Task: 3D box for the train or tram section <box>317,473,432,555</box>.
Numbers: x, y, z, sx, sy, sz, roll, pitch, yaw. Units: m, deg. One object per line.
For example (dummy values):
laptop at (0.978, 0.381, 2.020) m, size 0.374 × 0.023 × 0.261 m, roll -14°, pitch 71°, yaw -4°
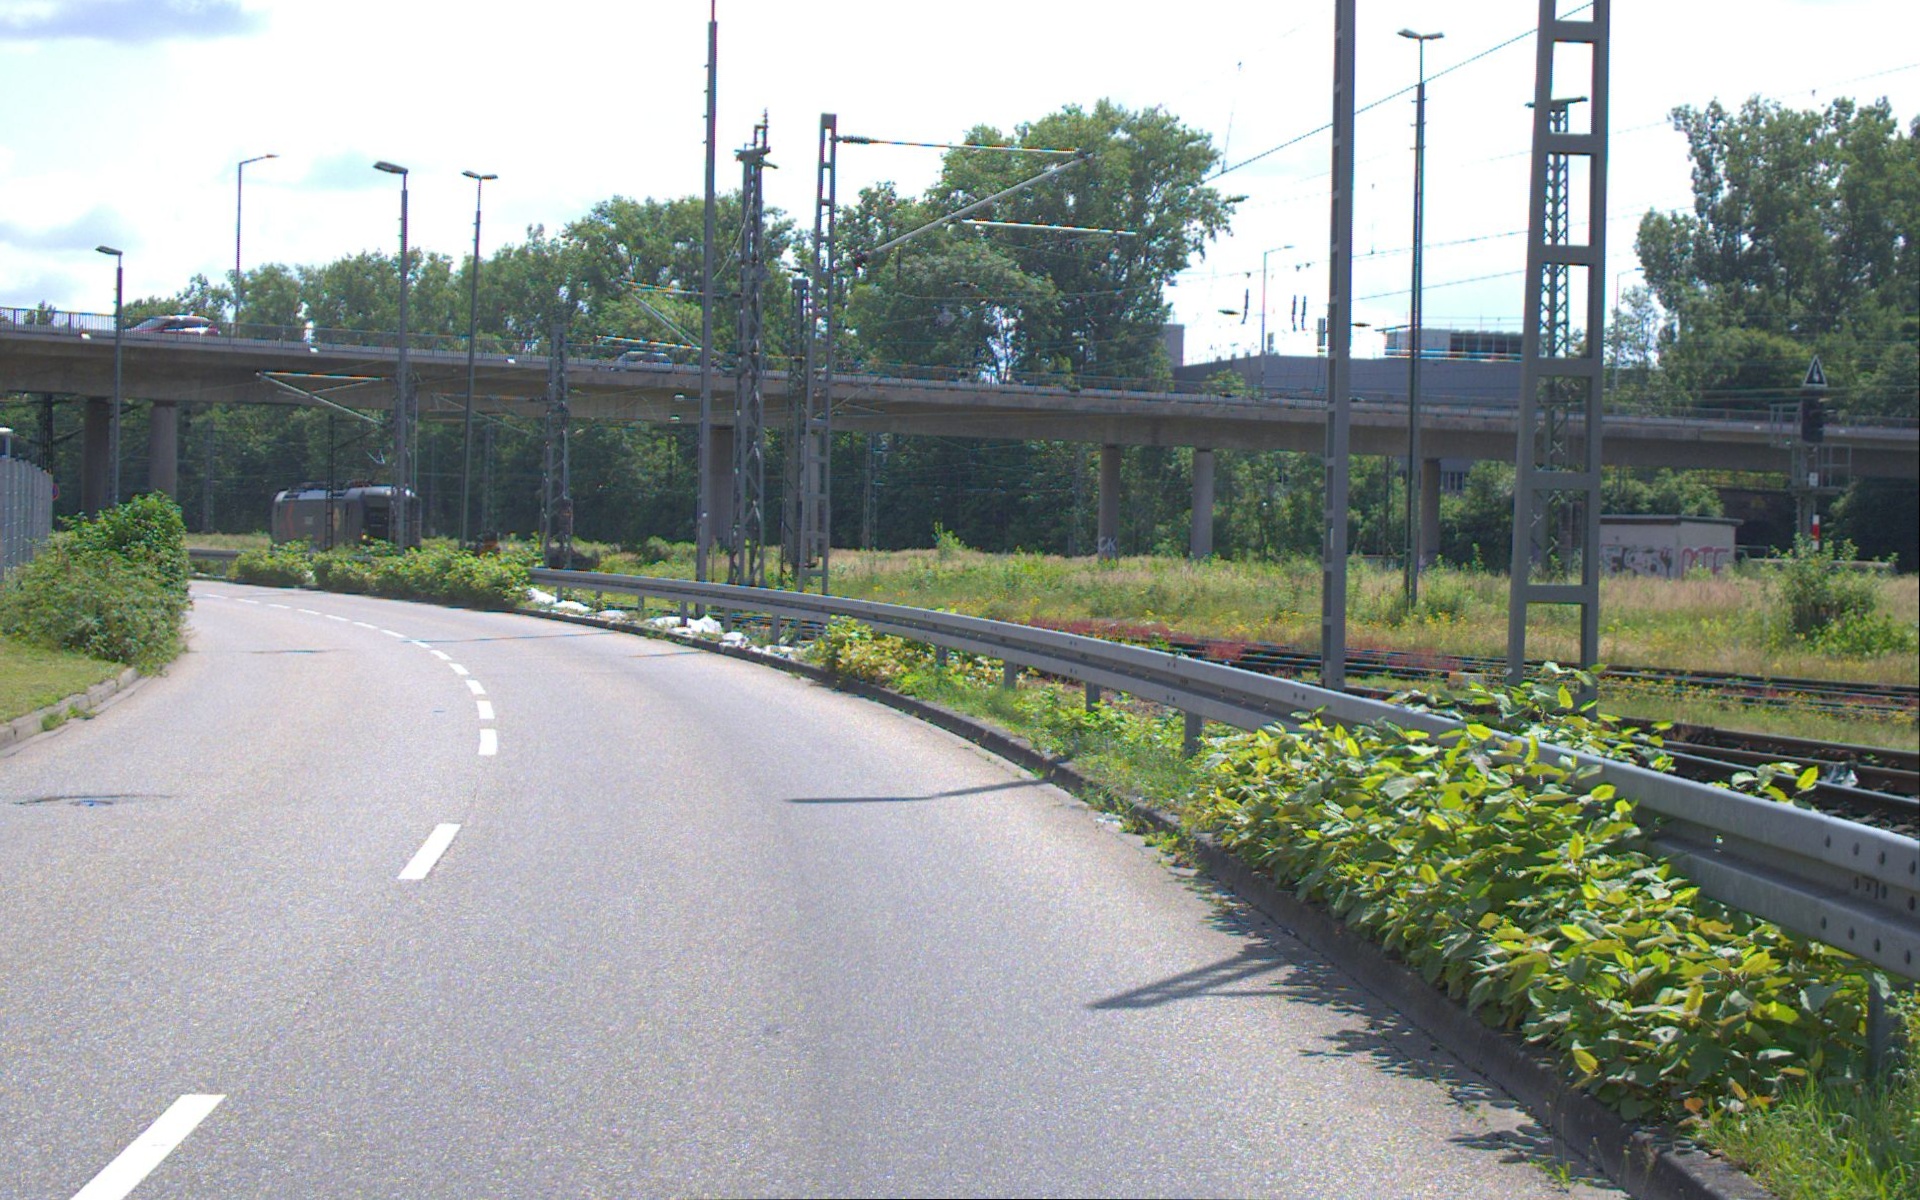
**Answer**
train or tram section at (-26.206, -3.825, 153.587) m, size 2.890 × 3.497 × 8.567 m, roll 1°, pitch 1°, yaw -25°
